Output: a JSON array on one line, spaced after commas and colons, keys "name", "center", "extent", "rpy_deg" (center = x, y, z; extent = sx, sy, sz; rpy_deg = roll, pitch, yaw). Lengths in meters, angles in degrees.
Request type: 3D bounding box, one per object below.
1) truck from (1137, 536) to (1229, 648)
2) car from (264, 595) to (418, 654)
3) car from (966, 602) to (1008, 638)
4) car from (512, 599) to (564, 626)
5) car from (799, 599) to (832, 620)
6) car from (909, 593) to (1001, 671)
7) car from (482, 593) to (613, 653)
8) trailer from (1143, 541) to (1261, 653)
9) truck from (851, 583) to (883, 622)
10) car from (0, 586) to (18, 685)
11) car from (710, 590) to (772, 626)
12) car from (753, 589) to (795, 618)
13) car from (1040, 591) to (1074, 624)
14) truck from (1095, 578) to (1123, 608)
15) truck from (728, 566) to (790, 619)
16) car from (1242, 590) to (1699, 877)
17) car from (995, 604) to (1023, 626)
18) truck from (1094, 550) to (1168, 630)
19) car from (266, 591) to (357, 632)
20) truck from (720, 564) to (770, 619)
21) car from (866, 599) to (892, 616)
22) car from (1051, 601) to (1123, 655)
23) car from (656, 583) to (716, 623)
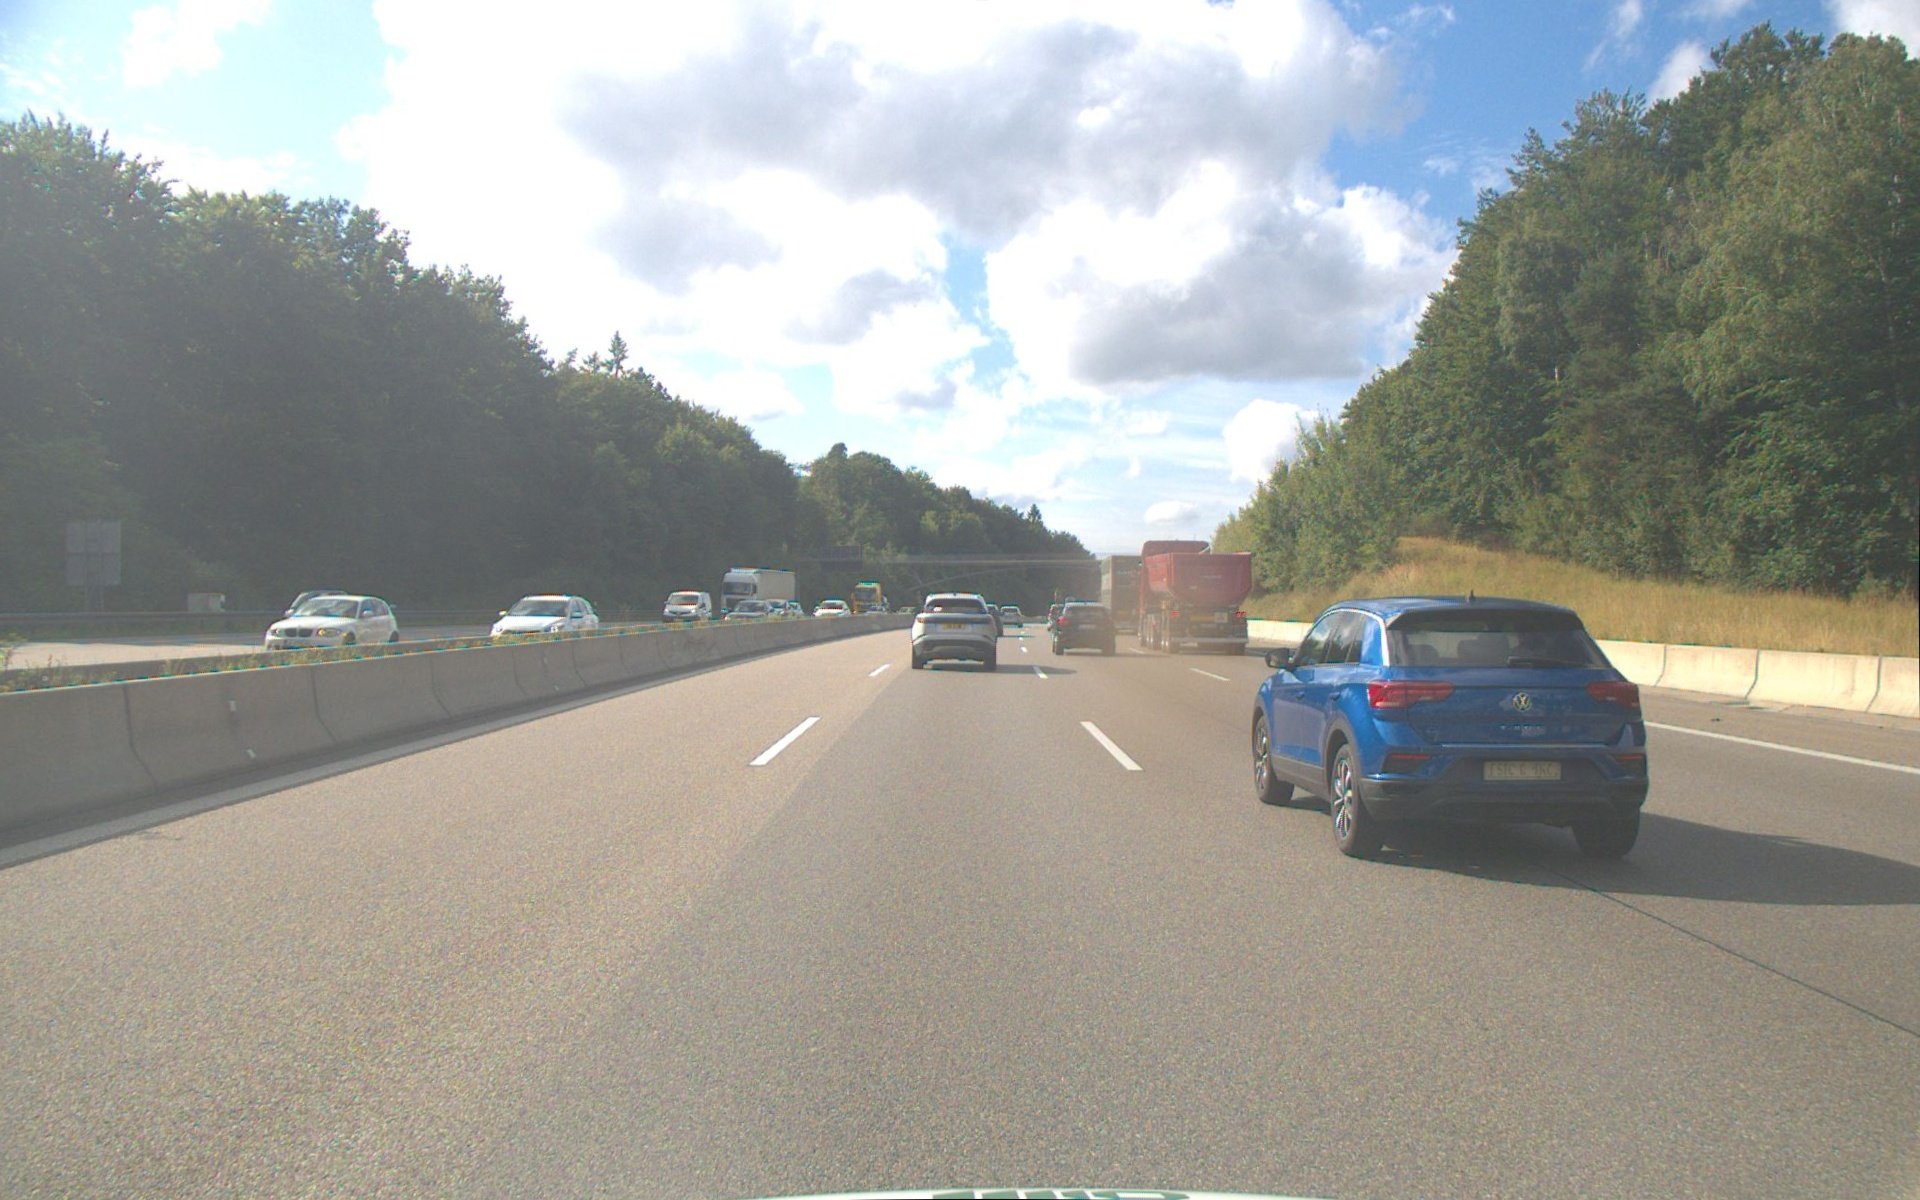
[{"name": "truck", "center": [7.877, -0.285, 59.039], "extent": [2.654, 3.784, 5.819], "rpy_deg": [1, 0, 2]}, {"name": "car", "center": [-13.582, 0.504, 36.560], "extent": [1.613, 1.221, 4.441], "rpy_deg": [1, 0, 2]}, {"name": "car", "center": [1.297, 0.908, 77.111], "extent": [1.784, 1.573, 4.001], "rpy_deg": [2, 0, 3]}, {"name": "car", "center": [-19.937, 0.577, 78.275], "extent": [1.463, 1.233, 3.788], "rpy_deg": [1, 0, 0]}, {"name": "car", "center": [-10.665, 0.709, 121.994], "extent": [1.809, 1.524, 4.130], "rpy_deg": [1, 0, 3]}, {"name": "car", "center": [-0.085, 0.684, 38.227], "extent": [1.965, 1.644, 5.301], "rpy_deg": [1, 0, 0]}, {"name": "car", "center": [-9.849, 0.509, 39.888], "extent": [1.953, 1.331, 4.832], "rpy_deg": [1, 0, 0]}, {"name": "trailer", "center": [7.756, -0.093, 54.128], "extent": [2.654, 3.288, 9.734], "rpy_deg": [1, 0, 2]}, {"name": "truck", "center": [-9.561, 0.228, 170.683], "extent": [2.719, 3.877, 7.136], "rpy_deg": [1, 0, 2]}, {"name": "car", "center": [-15.530, 0.531, 23.259], "extent": [1.685, 1.505, 4.632], "rpy_deg": [1, 0, 3]}, {"name": "car", "center": [-9.231, 0.326, 69.963], "extent": [1.952, 1.415, 4.748], "rpy_deg": [1, 0, 0]}, {"name": "car", "center": [-11.387, 0.194, 101.483], "extent": [1.952, 1.716, 4.680], "rpy_deg": [1, 0, 1]}, {"name": "car", "center": [5.721, 0.440, 98.020], "extent": [1.854, 1.889, 4.101], "rpy_deg": [1, 0, 1]}, {"name": "truck", "center": [15.509, -0.667, 171.890], "extent": [2.784, 2.976, 8.390], "rpy_deg": [1, 0, 5]}, {"name": "truck", "center": [-16.319, -0.578, 135.373], "extent": [2.650, 4.139, 13.094], "rpy_deg": [1, 0, 3]}, {"name": "car", "center": [3.165, 0.726, 11.245], "extent": [1.736, 1.557, 4.457], "rpy_deg": [0, 0, 0]}, {"name": "car", "center": [3.509, 1.078, 118.567], "extent": [1.784, 1.483, 4.002], "rpy_deg": [1, 0, 4]}, {"name": "truck", "center": [9.048, -0.515, 88.757], "extent": [3.054, 4.003, 10.412], "rpy_deg": [1, 0, 1]}, {"name": "car", "center": [-20.332, 0.342, 51.983], "extent": [1.463, 1.233, 3.270], "rpy_deg": [1, 0, 2]}, {"name": "truck", "center": [-16.731, -0.631, 129.002], "extent": [2.650, 4.140, 6.601], "rpy_deg": [1, 0, 3]}, {"name": "car", "center": [-7.379, 0.633, 151.486], "extent": [1.952, 1.512, 4.984], "rpy_deg": [1, 0, 2]}, {"name": "car", "center": [3.728, 0.799, 49.192], "extent": [1.785, 1.483, 4.000], "rpy_deg": [1, 0, 0]}, {"name": "car", "center": [-13.077, 0.131, 79.192], "extent": [1.952, 1.869, 4.730], "rpy_deg": [1, 0, 2]}]
